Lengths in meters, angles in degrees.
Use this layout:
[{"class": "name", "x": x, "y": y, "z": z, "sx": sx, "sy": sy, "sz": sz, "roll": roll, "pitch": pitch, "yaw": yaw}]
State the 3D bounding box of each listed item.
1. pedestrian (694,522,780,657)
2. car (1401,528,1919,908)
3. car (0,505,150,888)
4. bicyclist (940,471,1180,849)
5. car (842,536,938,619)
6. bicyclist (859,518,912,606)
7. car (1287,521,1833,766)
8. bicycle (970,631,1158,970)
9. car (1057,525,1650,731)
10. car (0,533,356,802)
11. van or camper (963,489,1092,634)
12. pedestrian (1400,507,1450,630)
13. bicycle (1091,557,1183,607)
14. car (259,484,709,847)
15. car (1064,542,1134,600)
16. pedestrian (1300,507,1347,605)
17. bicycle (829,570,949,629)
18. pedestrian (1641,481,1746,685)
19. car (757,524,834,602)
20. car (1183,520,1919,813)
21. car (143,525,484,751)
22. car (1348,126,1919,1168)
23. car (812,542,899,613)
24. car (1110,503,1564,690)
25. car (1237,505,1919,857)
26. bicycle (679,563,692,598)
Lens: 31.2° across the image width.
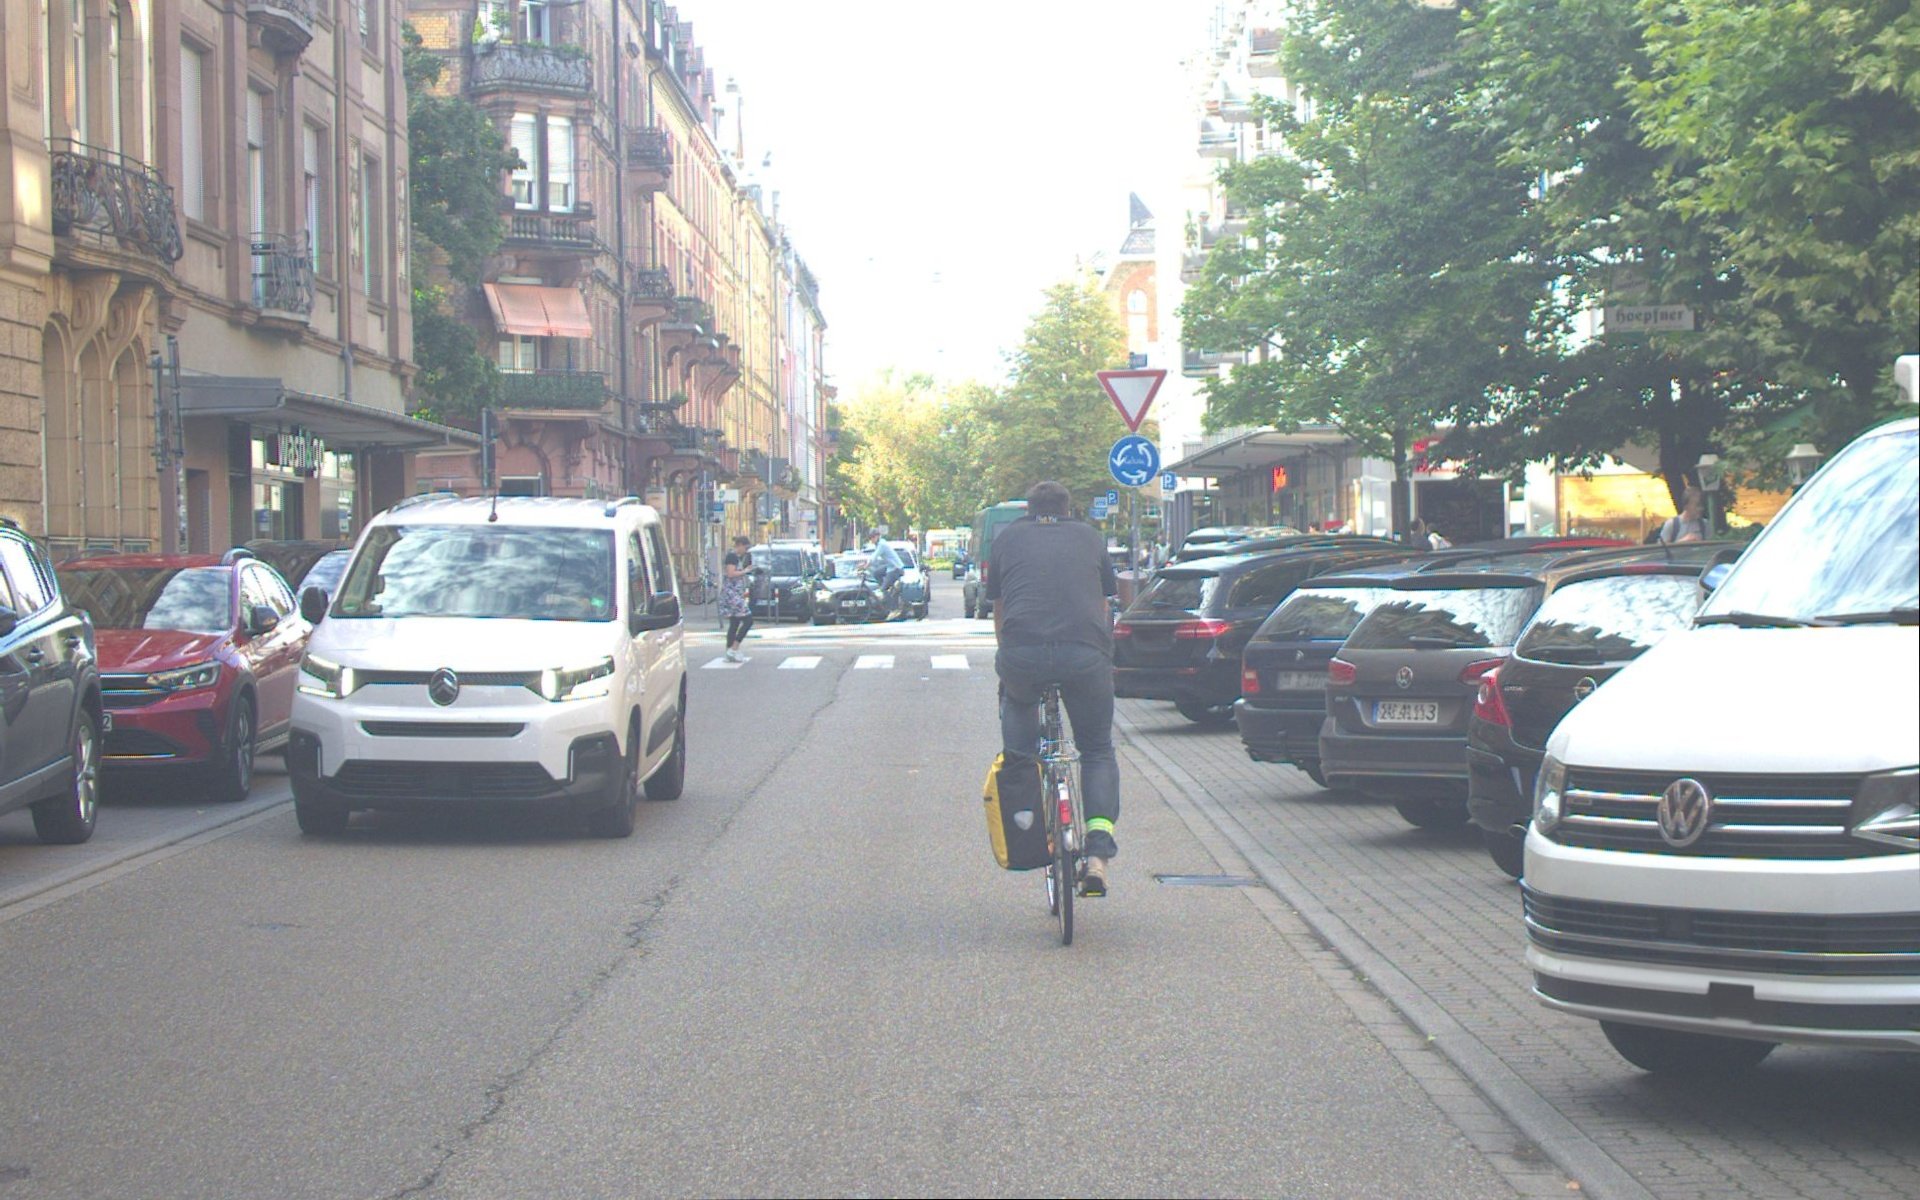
[{"class": "pedestrian", "x": -2.989, "y": -0.141, "z": 46.063, "sx": 0.783, "sy": 1.773, "sz": 0.791, "roll": -1, "pitch": 1, "yaw": 39}, {"class": "car", "x": 4.052, "y": 0.437, "z": 15.906, "sx": 3.983, "sy": 1.454, "sz": 1.750, "roll": -3, "pitch": 2, "yaw": -41}, {"class": "car", "x": -5.234, "y": 0.385, "z": 16.402, "sx": 1.872, "sy": 1.675, "sz": 4.895, "roll": 0, "pitch": 2, "yaw": -4}, {"class": "bicyclist", "x": 0.390, "y": 0.231, "z": 13.858, "sx": 0.933, "sy": 1.478, "sz": 0.747, "roll": 0, "pitch": 1, "yaw": 0}, {"class": "car", "x": -1.622, "y": -0.562, "z": 81.057, "sx": 1.943, "sy": 1.716, "sz": 4.850, "roll": -2, "pitch": 2, "yaw": 2}, {"class": "bicyclist", "x": -1.427, "y": -0.731, "z": 65.890, "sx": 0.854, "sy": 1.660, "sz": 0.790, "roll": 1, "pitch": 1, "yaw": 11}, {"class": "car", "x": 4.297, "y": 0.258, "z": 24.421, "sx": 3.709, "sy": 1.480, "sz": 1.741, "roll": -3, "pitch": 2, "yaw": -38}, {"class": "bicycle", "x": 0.383, "y": 0.742, "z": 13.793, "sx": 0.665, "sy": 1.174, "sz": 2.497, "roll": 0, "pitch": 1, "yaw": 0}, {"class": "car", "x": 3.448, "y": 0.190, "z": 29.968, "sx": 4.753, "sy": 1.452, "sz": 2.057, "roll": -4, "pitch": 3, "yaw": -28}, {"class": "car", "x": -5.261, "y": 0.371, "z": 22.140, "sx": 1.993, "sy": 1.539, "sz": 4.427, "roll": -1, "pitch": 1, "yaw": -1}, {"class": "van or camper", "x": 1.436, "y": -0.858, "z": 75.109, "sx": 2.531, "sy": 3.027, "sz": 4.459, "roll": -1, "pitch": 1, "yaw": -2}, {"class": "pedestrian", "x": 6.625, "y": -0.448, "z": 48.964, "sx": 0.629, "sy": 1.733, "sz": 0.775, "roll": -1, "pitch": 1, "yaw": 12}, {"class": "bicycle", "x": 3.901, "y": -0.394, "z": 75.758, "sx": 2.000, "sy": 1.042, "sz": 0.532, "roll": -1, "pitch": 1, "yaw": 3}, {"class": "car", "x": -2.570, "y": 0.297, "z": 19.606, "sx": 1.917, "sy": 1.822, "sz": 4.438, "roll": 0, "pitch": 1, "yaw": 0}, {"class": "car", "x": 3.467, "y": -0.741, "z": 86.245, "sx": 1.645, "sy": 1.320, "sz": 3.576, "roll": -3, "pitch": 1, "yaw": 2}, {"class": "pedestrian", "x": 6.991, "y": -0.849, "z": 66.129, "sx": 0.869, "sy": 1.845, "sz": 0.612, "roll": -1, "pitch": 1, "yaw": 5}, {"class": "bicycle", "x": -1.355, "y": -0.021, "z": 65.888, "sx": 2.186, "sy": 1.088, "sz": 0.677, "roll": 1, "pitch": 1, "yaw": 11}, {"class": "pedestrian", "x": 6.839, "y": -0.163, "z": 32.093, "sx": 0.839, "sy": 1.871, "sz": 0.723, "roll": -1, "pitch": 1, "yaw": 4}, {"class": "car", "x": -4.430, "y": -1.012, "z": 93.093, "sx": 1.993, "sy": 2.007, "sz": 4.000, "roll": -1, "pitch": 1, "yaw": -2}, {"class": "car", "x": 3.760, "y": 0.342, "z": 21.545, "sx": 4.455, "sy": 1.459, "sz": 1.879, "roll": -4, "pitch": 3, "yaw": -34}, {"class": "car", "x": -5.073, "y": 0.252, "z": 27.610, "sx": 1.790, "sy": 1.623, "sz": 4.847, "roll": -1, "pitch": 1, "yaw": 0}, {"class": "car", "x": 3.788, "y": 0.019, "z": 10.106, "sx": 5.143, "sy": 2.397, "sz": 1.918, "roll": -2, "pitch": 1, "yaw": -33}, {"class": "car", "x": -2.180, "y": -0.467, "z": 71.861, "sx": 1.750, "sy": 1.431, "sz": 4.212, "roll": 0, "pitch": 0, "yaw": -2}, {"class": "car", "x": 3.948, "y": -0.067, "z": 35.940, "sx": 4.340, "sy": 1.639, "sz": 1.822, "roll": -4, "pitch": 2, "yaw": -26}, {"class": "car", "x": 3.801, "y": 0.344, "z": 18.641, "sx": 4.456, "sy": 1.472, "sz": 1.889, "roll": -5, "pitch": 3, "yaw": -39}, {"class": "bicycle", "x": -7.676, "y": -0.553, "z": 96.056, "sx": 0.360, "sy": 0.944, "sz": 1.716, "roll": 0, "pitch": 1, "yaw": -5}]
